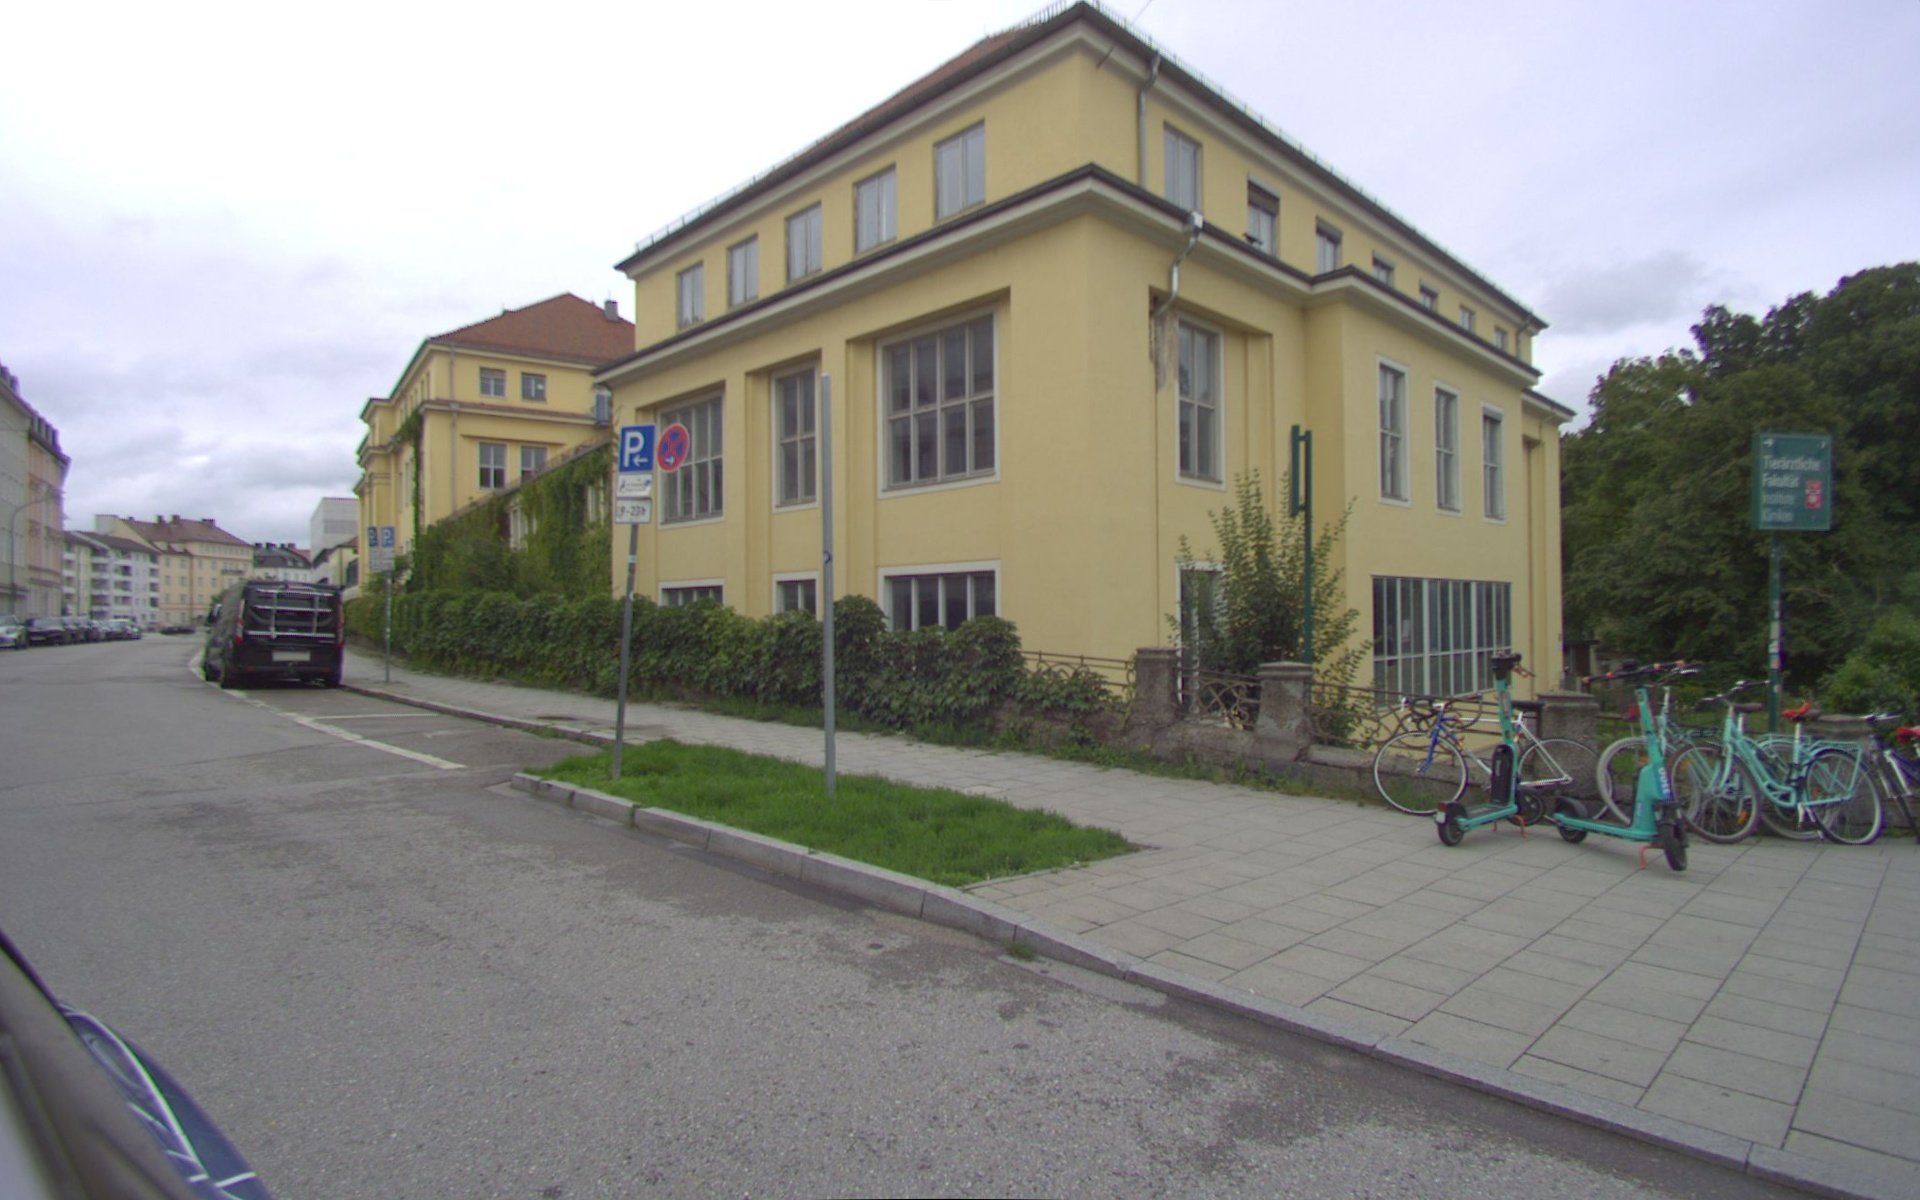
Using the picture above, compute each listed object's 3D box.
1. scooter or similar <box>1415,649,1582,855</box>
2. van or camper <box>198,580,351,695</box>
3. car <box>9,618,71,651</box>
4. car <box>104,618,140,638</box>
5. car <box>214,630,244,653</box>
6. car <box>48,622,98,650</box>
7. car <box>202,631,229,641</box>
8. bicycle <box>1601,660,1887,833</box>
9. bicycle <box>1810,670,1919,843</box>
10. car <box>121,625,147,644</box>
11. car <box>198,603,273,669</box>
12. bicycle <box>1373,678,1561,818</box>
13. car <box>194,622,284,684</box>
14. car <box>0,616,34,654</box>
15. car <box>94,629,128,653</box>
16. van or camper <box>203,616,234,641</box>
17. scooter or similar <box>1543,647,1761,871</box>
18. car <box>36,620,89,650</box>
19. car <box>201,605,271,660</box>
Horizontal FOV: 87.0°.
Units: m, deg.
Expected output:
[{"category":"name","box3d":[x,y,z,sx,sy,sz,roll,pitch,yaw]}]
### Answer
[{"category":"scooter or similar","box3d":[3.605,0.955,6.751,1.163,1.229,0.603,3,-3,-41]},{"category":"van or camper","box3d":[-14.141,0.749,20.750,1.937,2.081,4.759,2,-3,-42]},{"category":"car","box3d":[-46.049,1.708,50.738,1.831,1.556,4.826,0,-1,-37]},{"category":"car","box3d":[-62.941,2.117,76.086,1.669,1.462,4.094,0,-1,-34]},{"category":"car","box3d":[-53.011,2.997,73.365,1.657,1.507,3.995,3,-3,-36]},{"category":"car","box3d":[-51.691,2.066,59.043,1.831,1.556,4.826,0,-1,-37]},{"category":"car","box3d":[-140.501,6.809,191.059,3.934,1.874,2.005,2,-3,-35]},{"category":"bicycle","box3d":[5.527,1.015,7.199,1.481,1.143,0.654,0,-1,1]},{"category":"bicycle","box3d":[7.210,1.142,7.515,1.708,1.142,0.656,4,-3,-23]},{"category":"car","box3d":[-72.917,3.059,89.368,1.583,1.655,3.639,1,-2,-37]},{"category":"car","box3d":[-20.876,1.027,29.096,1.598,1.743,4.434,1,-2,-37]},{"category":"bicycle","box3d":[3.733,1.073,7.540,1.196,0.930,0.468,-1,-1,22]},{"category":"car","box3d":[-17.752,1.231,24.843,1.599,1.388,4.080,1,-2,-38]},{"category":"car","box3d":[-40.610,1.477,42.814,1.649,1.546,3.890,1,-2,-35]},{"category":"car","box3d":[-59.445,2.888,70.904,1.670,1.595,4.091,2,-3,-38]},{"category":"van or camper","box3d":[-85.799,3.338,117.080,2.110,2.829,5.578,3,-3,-43]},{"category":"scooter or similar","box3d":[4.217,0.917,6.258,0.440,1.229,1.183,2,-2,-6]},{"category":"car","box3d":[-48.821,1.872,55.096,1.831,1.556,4.165,0,-1,-37]},{"category":"car","box3d":[-26.756,1.223,37.476,1.967,1.890,4.770,2,-3,-35]}]
